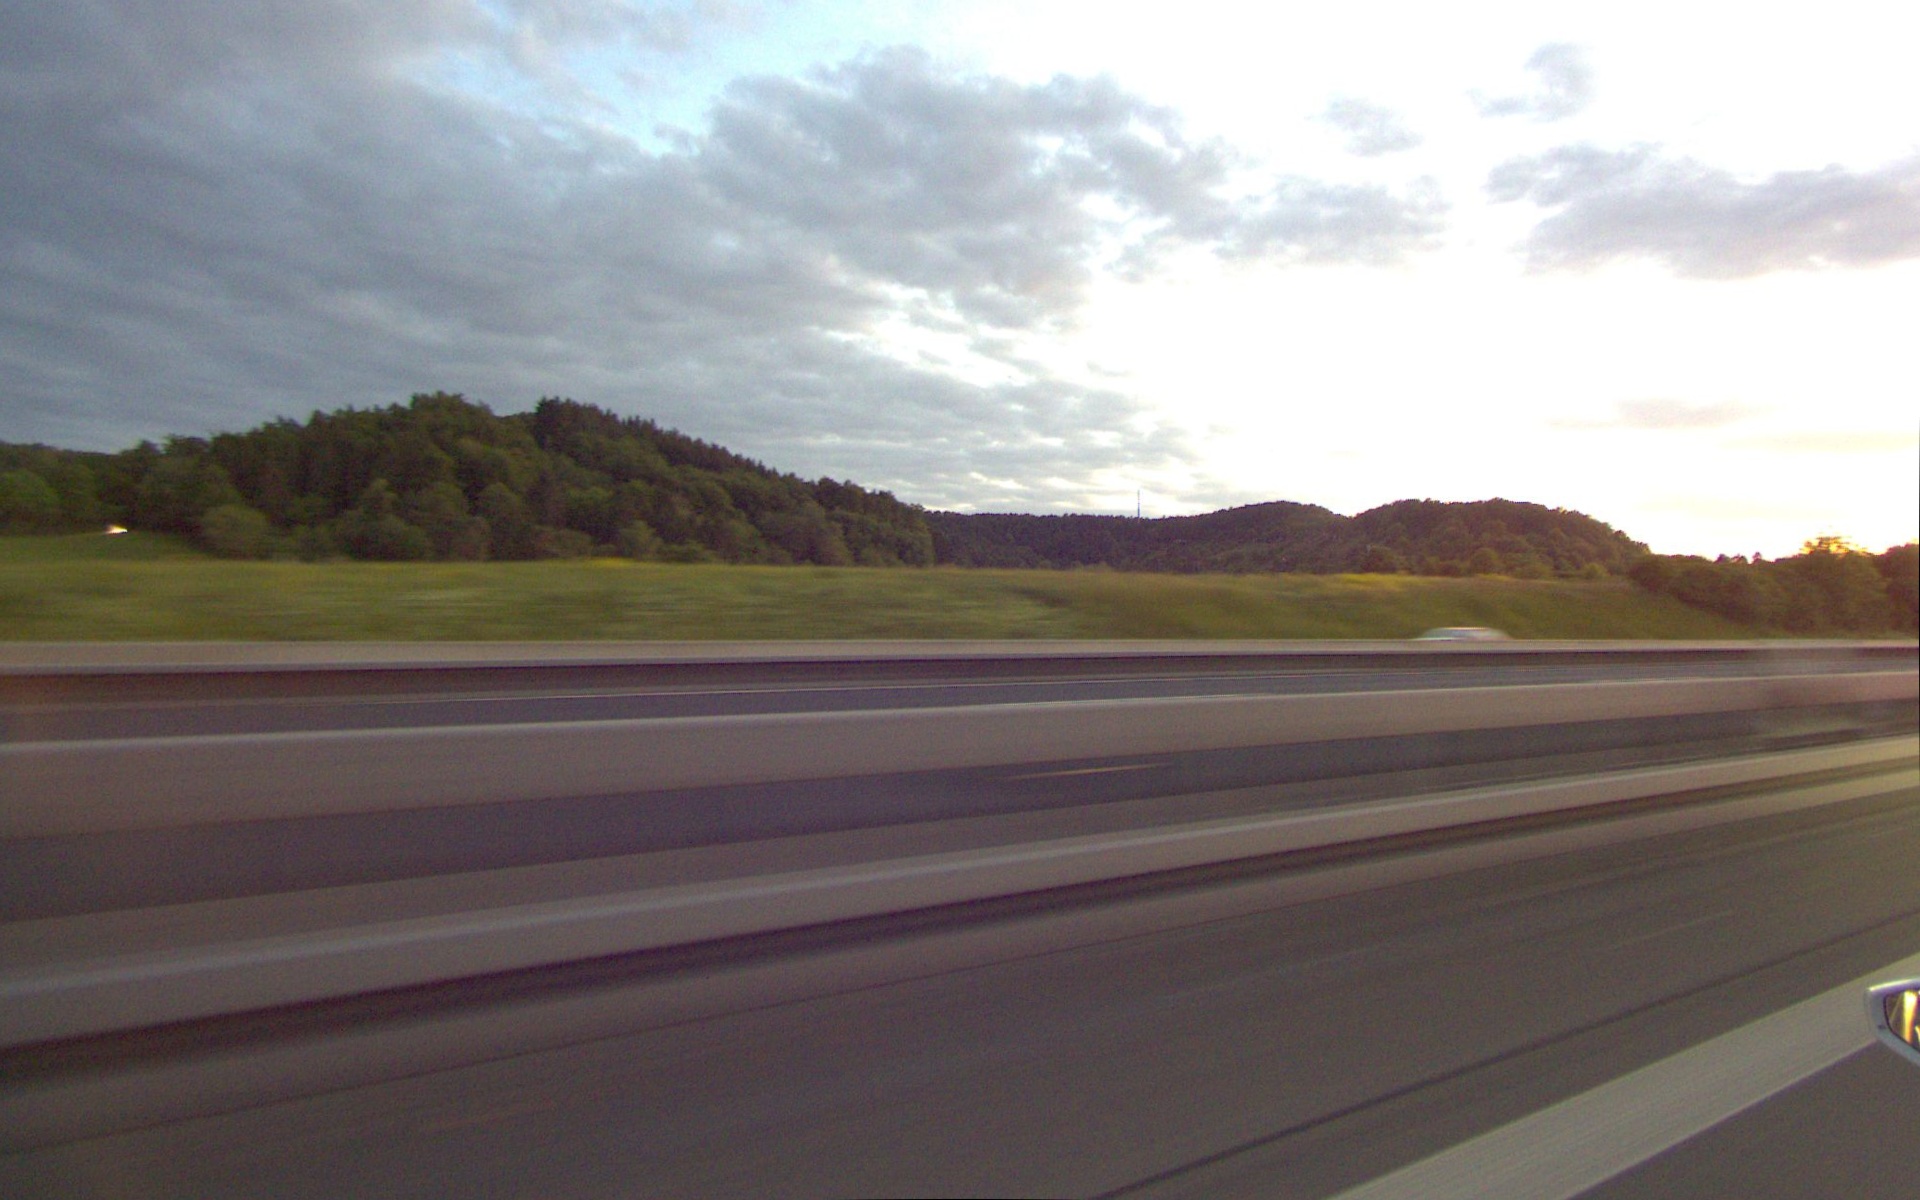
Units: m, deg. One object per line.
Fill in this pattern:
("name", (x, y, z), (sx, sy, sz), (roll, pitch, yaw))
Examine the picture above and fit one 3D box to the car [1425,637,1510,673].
("car", (22.828, 2.428, 45.146), (3.765, 1.514, 1.660), (1, -1, -30))
